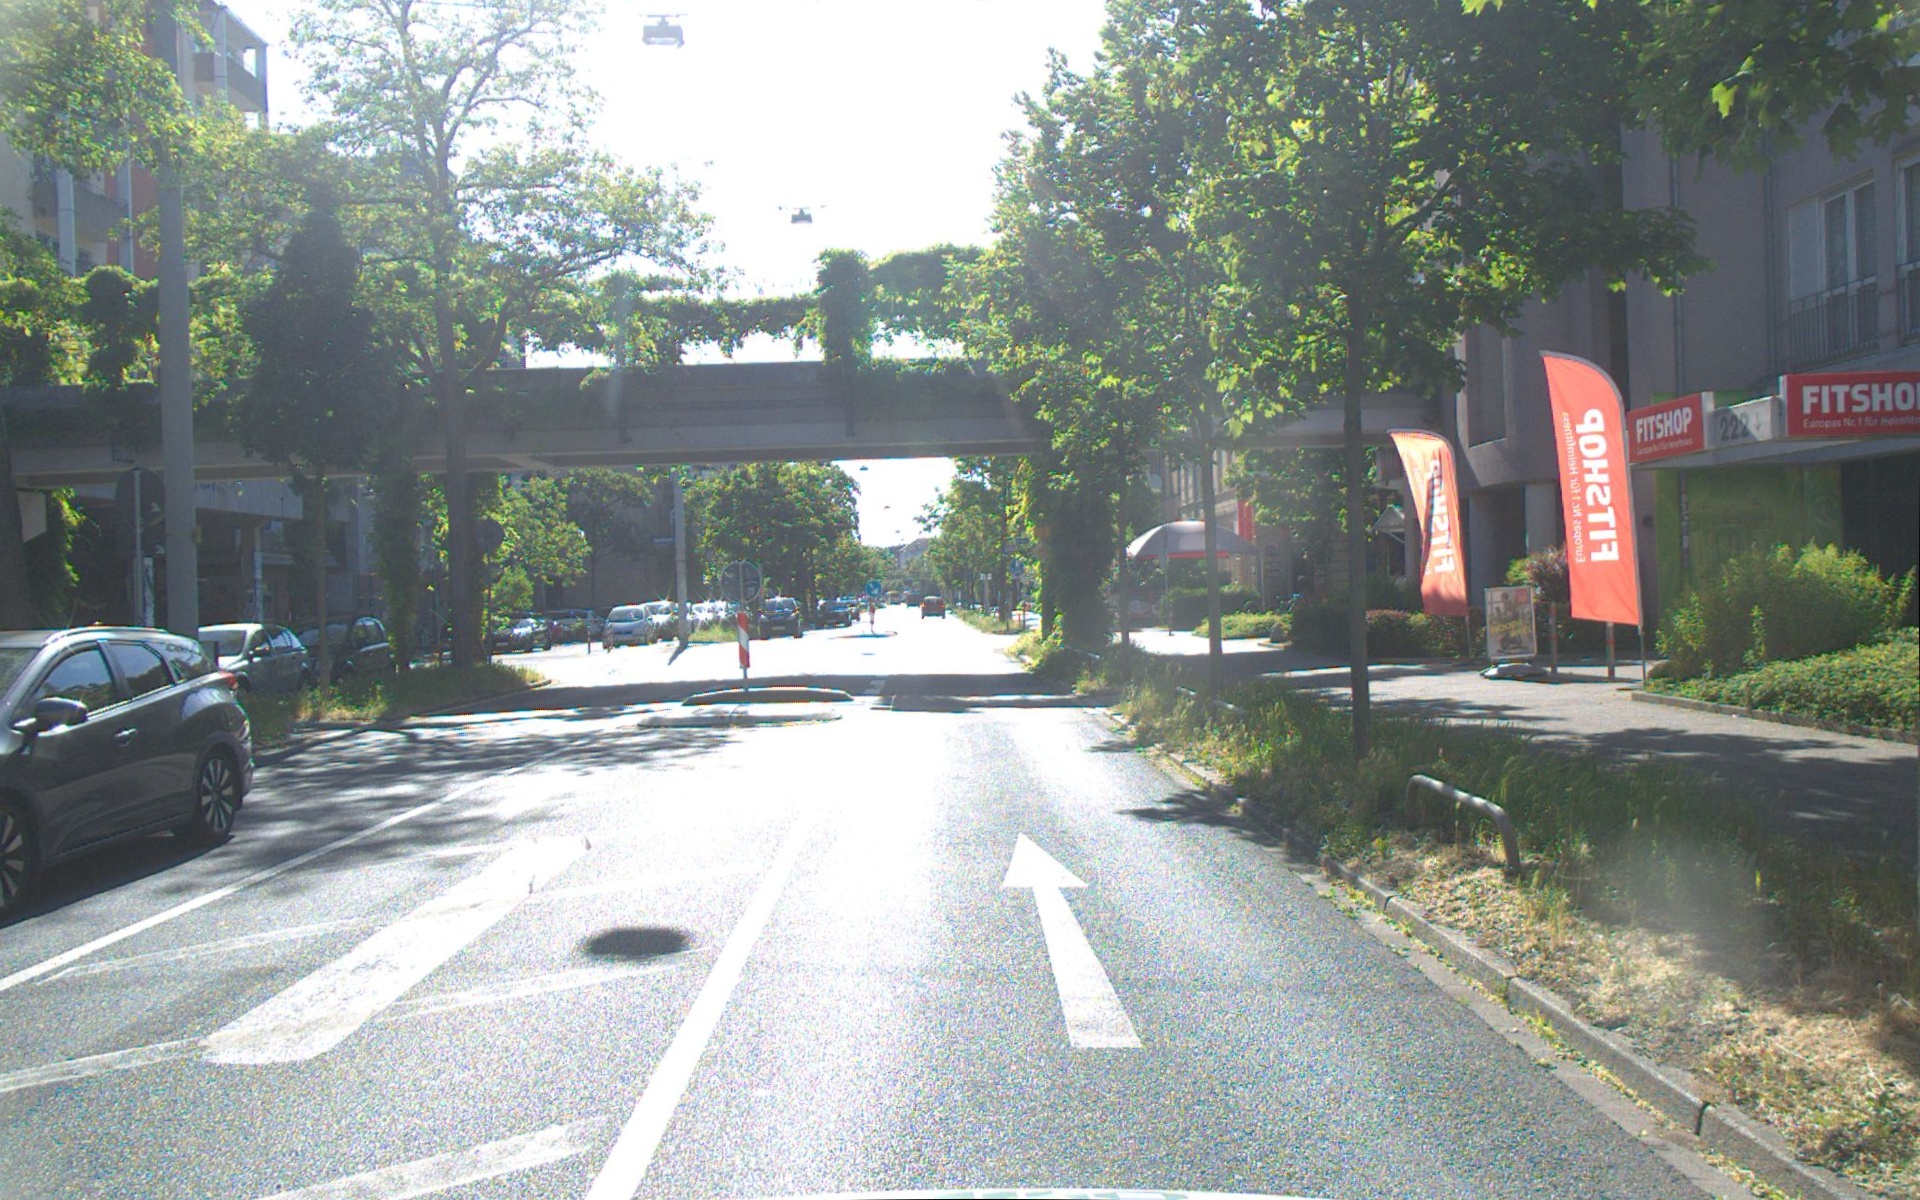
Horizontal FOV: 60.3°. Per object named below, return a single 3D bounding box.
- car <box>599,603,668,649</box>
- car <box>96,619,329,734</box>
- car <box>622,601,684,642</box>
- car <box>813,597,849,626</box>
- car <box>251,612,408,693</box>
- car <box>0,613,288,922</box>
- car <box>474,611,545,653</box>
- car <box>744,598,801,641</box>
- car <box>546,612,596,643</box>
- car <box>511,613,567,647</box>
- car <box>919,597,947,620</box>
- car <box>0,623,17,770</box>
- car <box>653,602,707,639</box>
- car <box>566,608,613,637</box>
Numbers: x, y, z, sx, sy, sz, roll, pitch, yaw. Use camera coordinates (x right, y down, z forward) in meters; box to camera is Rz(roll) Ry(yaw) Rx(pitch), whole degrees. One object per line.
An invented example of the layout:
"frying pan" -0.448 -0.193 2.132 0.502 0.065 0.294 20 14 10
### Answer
"car" -11.771 0.913 59.851 1.818 1.549 4.075 -1 0 -2
"car" -11.616 1.133 26.054 1.818 1.549 4.317 -1 0 -2
"car" -12.245 0.835 66.230 1.818 1.549 4.317 -1 0 -2
"car" -7.194 0.610 92.859 1.818 1.549 4.317 -1 0 -2
"car" -11.448 0.911 30.271 1.600 1.330 3.581 -1 0 -2
"car" -5.666 0.892 9.508 1.818 1.464 4.318 -4 0 -1
"car" -18.317 1.276 67.384 1.818 1.549 4.317 -1 0 -2
"car" -7.151 0.718 63.281 1.818 1.549 4.317 -1 0 -2
"car" -20.785 1.433 88.501 1.818 1.549 4.317 -1 0 -2
"car" -20.772 1.467 81.733 1.818 1.549 4.317 -1 0 -2
"car" -1.861 0.559 115.827 1.818 1.549 4.318 -1 0 0
"car" -11.341 1.080 16.367 1.818 1.595 3.871 -1 0 -1
"car" -12.512 0.911 74.167 1.818 1.549 4.317 -1 0 -2
"car" -21.085 1.248 94.308 1.818 1.549 4.317 -1 0 -2
